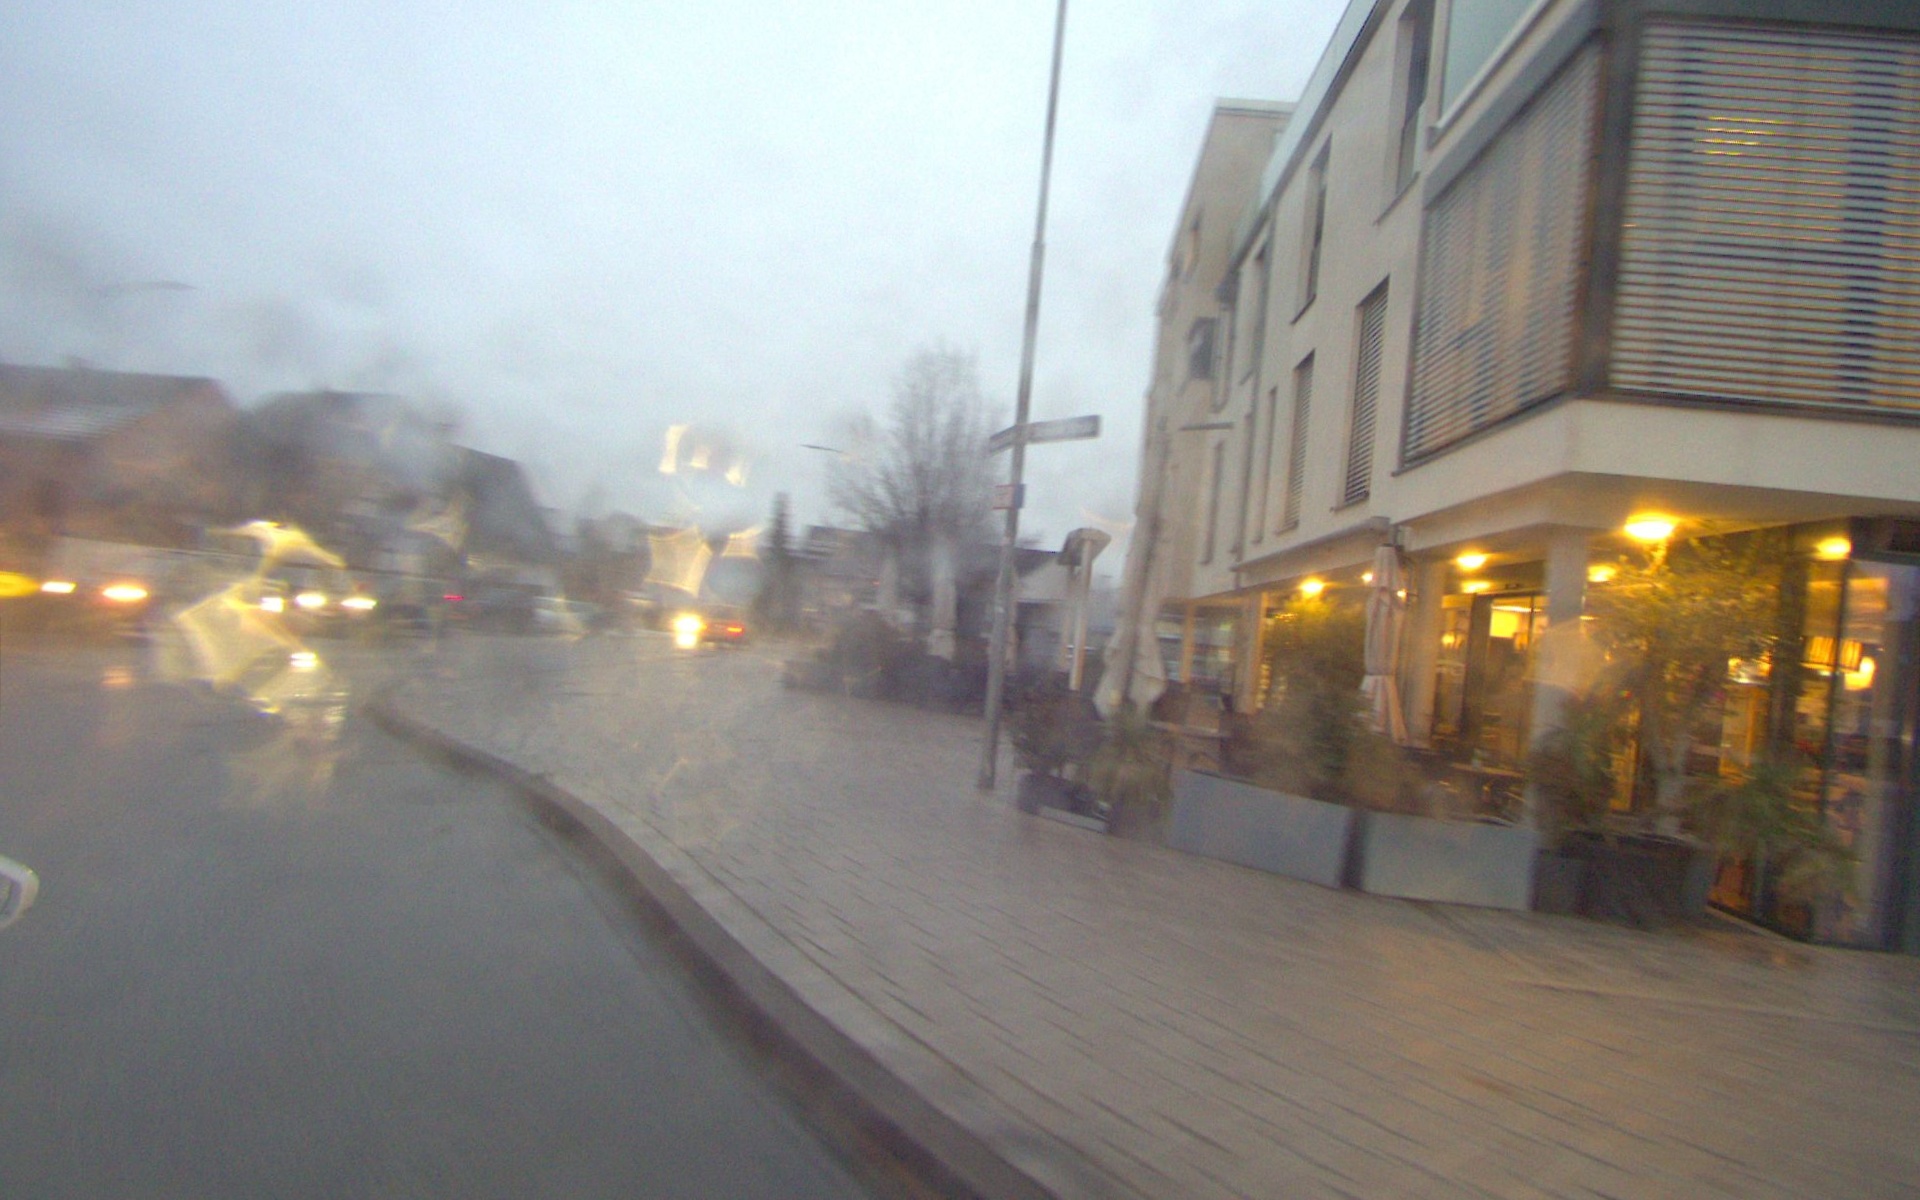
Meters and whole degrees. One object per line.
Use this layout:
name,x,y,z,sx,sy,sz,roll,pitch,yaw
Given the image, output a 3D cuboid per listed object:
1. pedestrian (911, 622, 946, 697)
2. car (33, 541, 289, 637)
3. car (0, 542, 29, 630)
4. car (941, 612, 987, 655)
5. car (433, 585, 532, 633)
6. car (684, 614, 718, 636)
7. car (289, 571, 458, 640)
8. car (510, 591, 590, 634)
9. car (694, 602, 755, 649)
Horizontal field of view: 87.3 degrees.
pedestrian,-0.664,1.230,20.892,0.543,1.472,0.451,6,0,-6
car,-15.991,-0.134,20.449,1.664,1.570,4.005,4,-2,6
car,-16.736,-0.383,14.739,1.815,1.400,4.240,3,-2,11
car,0.239,1.834,54.547,2.173,2.037,4.863,6,-2,1
car,-17.996,0.385,38.119,1.695,1.483,3.713,6,-2,3
car,-19.565,1.890,76.183,1.849,1.470,3.997,7,-2,-8
car,-15.577,0.214,27.008,1.664,1.526,4.262,5,-2,5
car,-17.762,0.592,43.724,1.642,1.568,3.721,6,-2,3
car,-10.930,1.219,47.020,1.963,2.038,4.900,2,-2,-5
